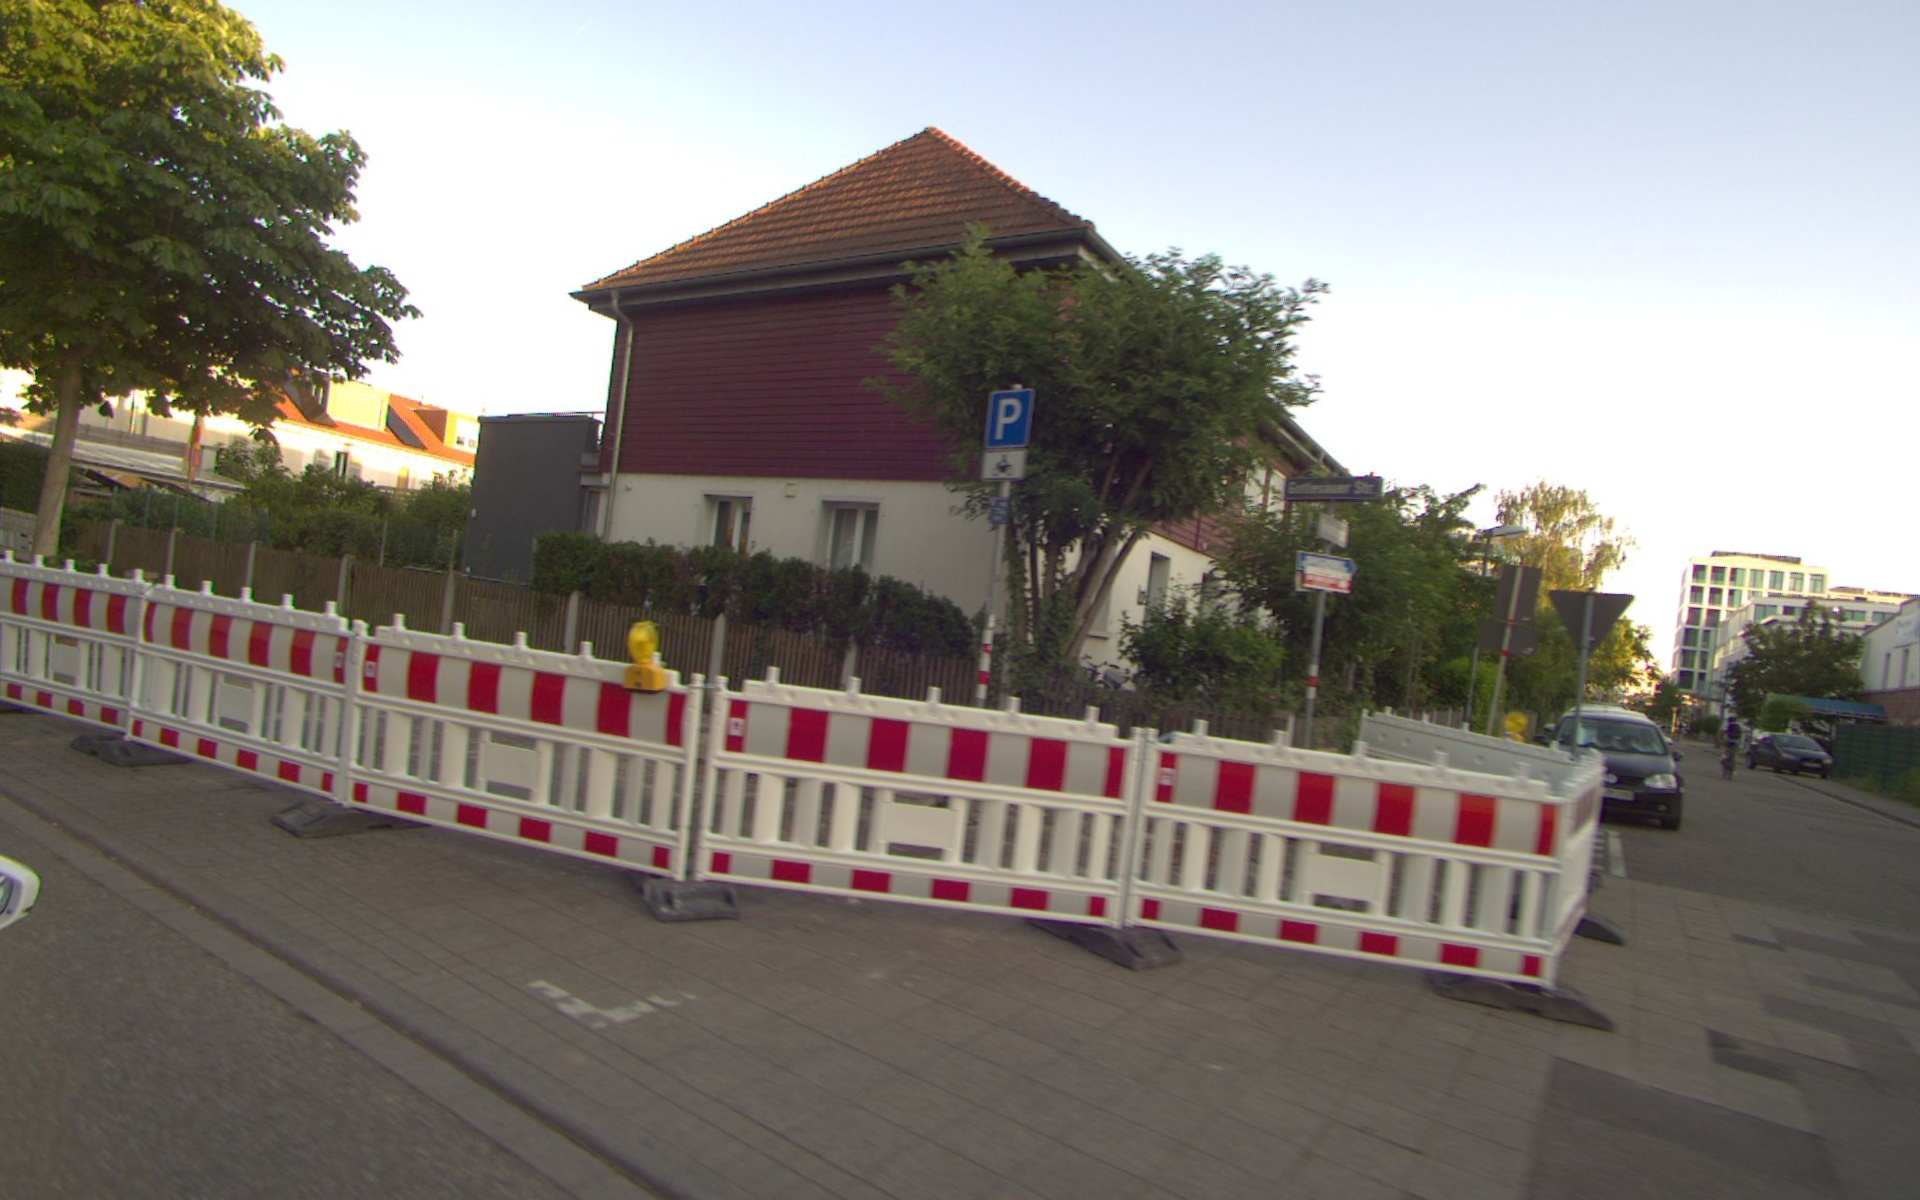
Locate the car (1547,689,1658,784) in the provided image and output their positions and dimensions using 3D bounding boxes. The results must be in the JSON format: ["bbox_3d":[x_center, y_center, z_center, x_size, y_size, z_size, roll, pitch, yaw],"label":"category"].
[{"bbox_3d":[15.639,3.300,24.606,1.967,1.854,3.995,6,-2,32],"label":"car"}]

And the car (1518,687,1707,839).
[{"bbox_3d":[9.706,2.344,15.133,1.967,1.682,3.995,6,-2,32],"label":"car"}]

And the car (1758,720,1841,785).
[{"bbox_3d":[31.684,5.728,38.074,1.970,2.036,3.990,6,-2,37],"label":"car"}]

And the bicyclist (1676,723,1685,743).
[{"bbox_3d":[58.797,10.859,82.059,0.443,1.568,0.454,6,-1,32],"label":"bicyclist"}]

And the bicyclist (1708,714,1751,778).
[{"bbox_3d":[22.389,4.235,29.274,0.731,1.718,0.980,6,-1,31],"label":"bicyclist"}]

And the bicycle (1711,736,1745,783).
[{"bbox_3d":[22.374,4.625,29.322,0.444,1.237,1.881,6,-2,30],"label":"bicycle"}]

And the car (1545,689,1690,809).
[{"bbox_3d":[12.544,2.796,19.353,1.967,1.788,3.995,6,-2,32],"label":"car"}]

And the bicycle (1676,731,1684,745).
[{"bbox_3d":[58.768,11.259,82.095,0.342,1.074,1.264,6,-2,31],"label":"bicycle"}]

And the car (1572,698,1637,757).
[{"bbox_3d":[26.302,5.193,41.167,1.967,2.036,3.995,6,-2,32],"label":"car"}]
